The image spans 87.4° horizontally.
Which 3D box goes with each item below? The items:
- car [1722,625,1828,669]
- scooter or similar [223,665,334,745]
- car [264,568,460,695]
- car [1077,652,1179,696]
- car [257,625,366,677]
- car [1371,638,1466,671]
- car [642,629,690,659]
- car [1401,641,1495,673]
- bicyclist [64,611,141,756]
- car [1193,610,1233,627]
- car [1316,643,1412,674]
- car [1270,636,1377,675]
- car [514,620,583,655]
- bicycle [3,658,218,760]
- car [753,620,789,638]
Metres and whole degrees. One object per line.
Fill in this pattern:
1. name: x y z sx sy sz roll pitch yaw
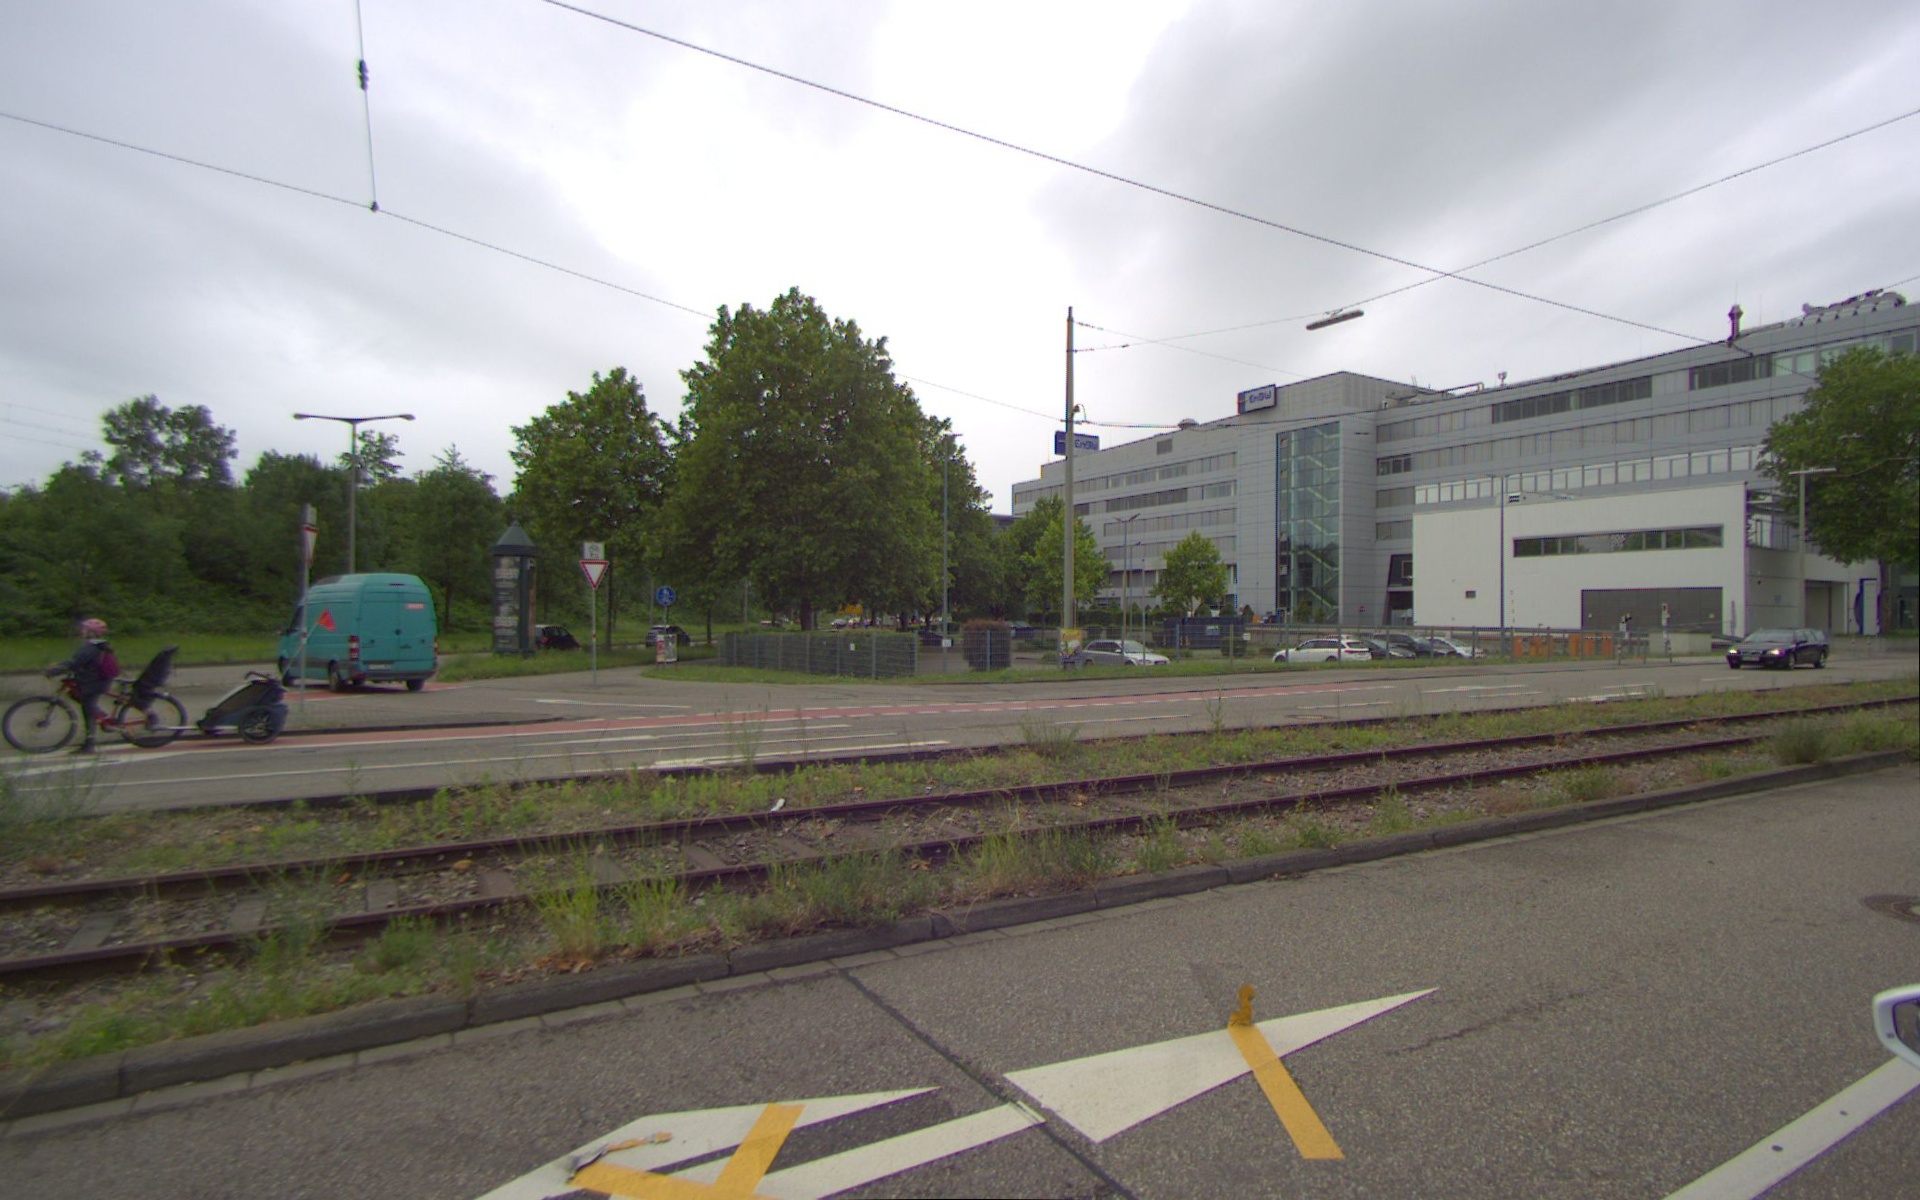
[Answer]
1. car: 29.032 1.636 35.732 4.382 1.492 1.808 1 -2 -35
2. scooter or similar: -9.124 1.381 13.447 1.187 0.919 0.837 0 1 -38
3. car: -15.256 0.763 25.468 5.856 2.863 2.326 0 -1 38
4. car: 6.688 2.921 40.511 1.890 1.552 4.193 1 -1 -29
5. car: -20.816 1.599 32.416 1.743 1.548 3.661 1 -1 -12
6. car: 22.869 2.679 50.193 1.893 1.505 3.963 1 -2 -33
7. car: -18.793 2.792 64.295 1.743 1.674 3.670 1 0 4
8. car: 25.086 2.885 51.749 1.893 1.505 3.963 1 -2 -33
9. bicyclist: -10.568 0.995 12.400 0.679 1.706 0.640 0 1 -37
10. car: 30.473 2.211 120.891 4.597 2.040 1.984 1 -1 -31
11. car: 19.471 2.793 48.526 1.893 1.332 3.963 1 -2 -33
12. car: 16.800 2.522 46.636 1.893 1.655 4.500 1 -2 -33
13. car: -20.142 1.826 49.283 1.739 1.548 3.670 1 0 3
14. bicycle: -10.466 1.316 12.487 2.006 1.076 0.640 0 1 -38
15. car: -17.439 2.657 92.875 1.928 1.548 5.013 1 0 7
